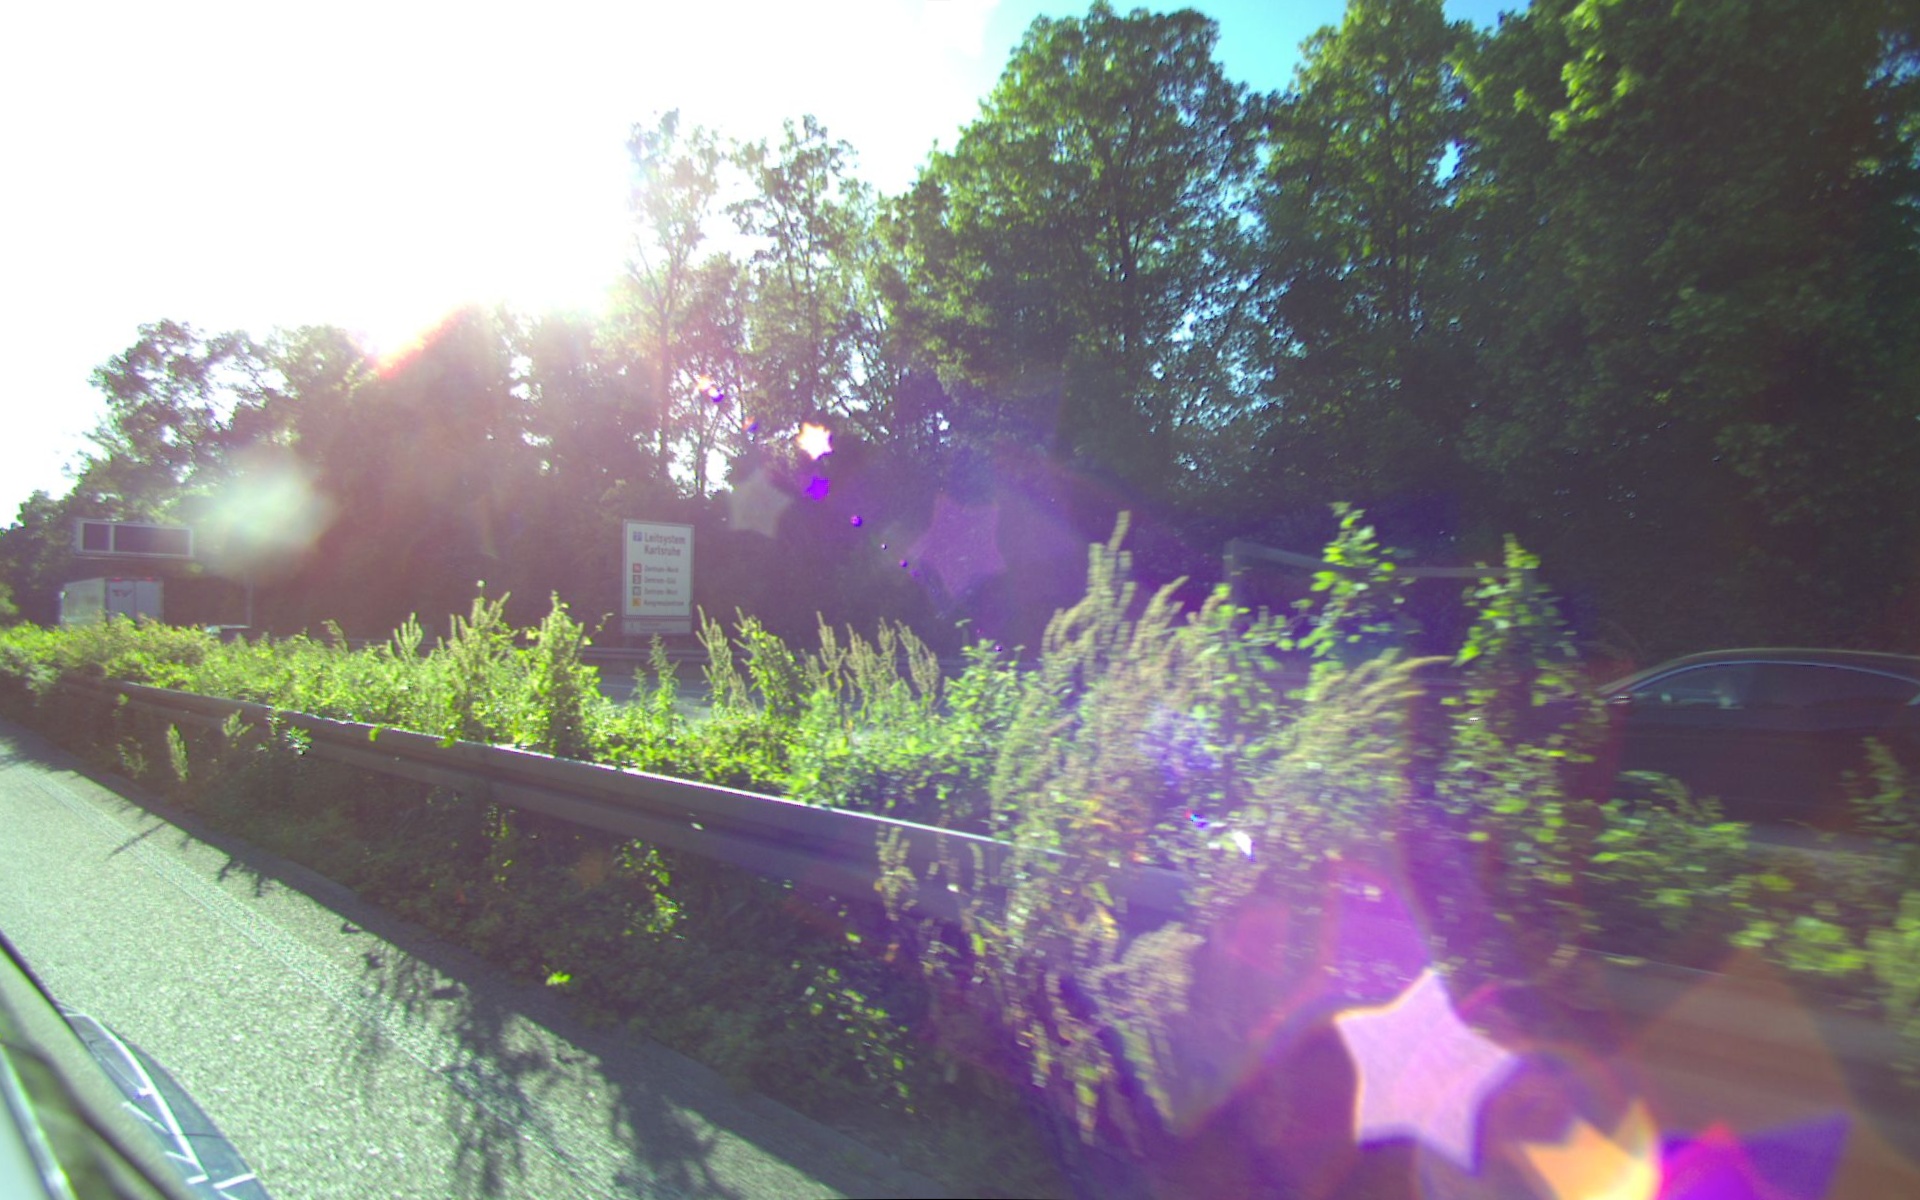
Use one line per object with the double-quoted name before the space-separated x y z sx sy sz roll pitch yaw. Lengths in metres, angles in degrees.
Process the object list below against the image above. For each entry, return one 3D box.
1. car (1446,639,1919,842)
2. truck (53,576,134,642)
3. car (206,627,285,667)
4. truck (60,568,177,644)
"car" 7.069 1.123 9.097 4.507 1.434 1.973 -1 -1 41
"truck" -55.661 0.638 64.983 5.674 4.043 3.195 -2 -1 41
"car" -28.465 1.831 40.305 3.790 1.484 1.745 -1 -1 41
"truck" -50.396 0.484 60.349 14.444 4.043 3.210 -2 -1 41
